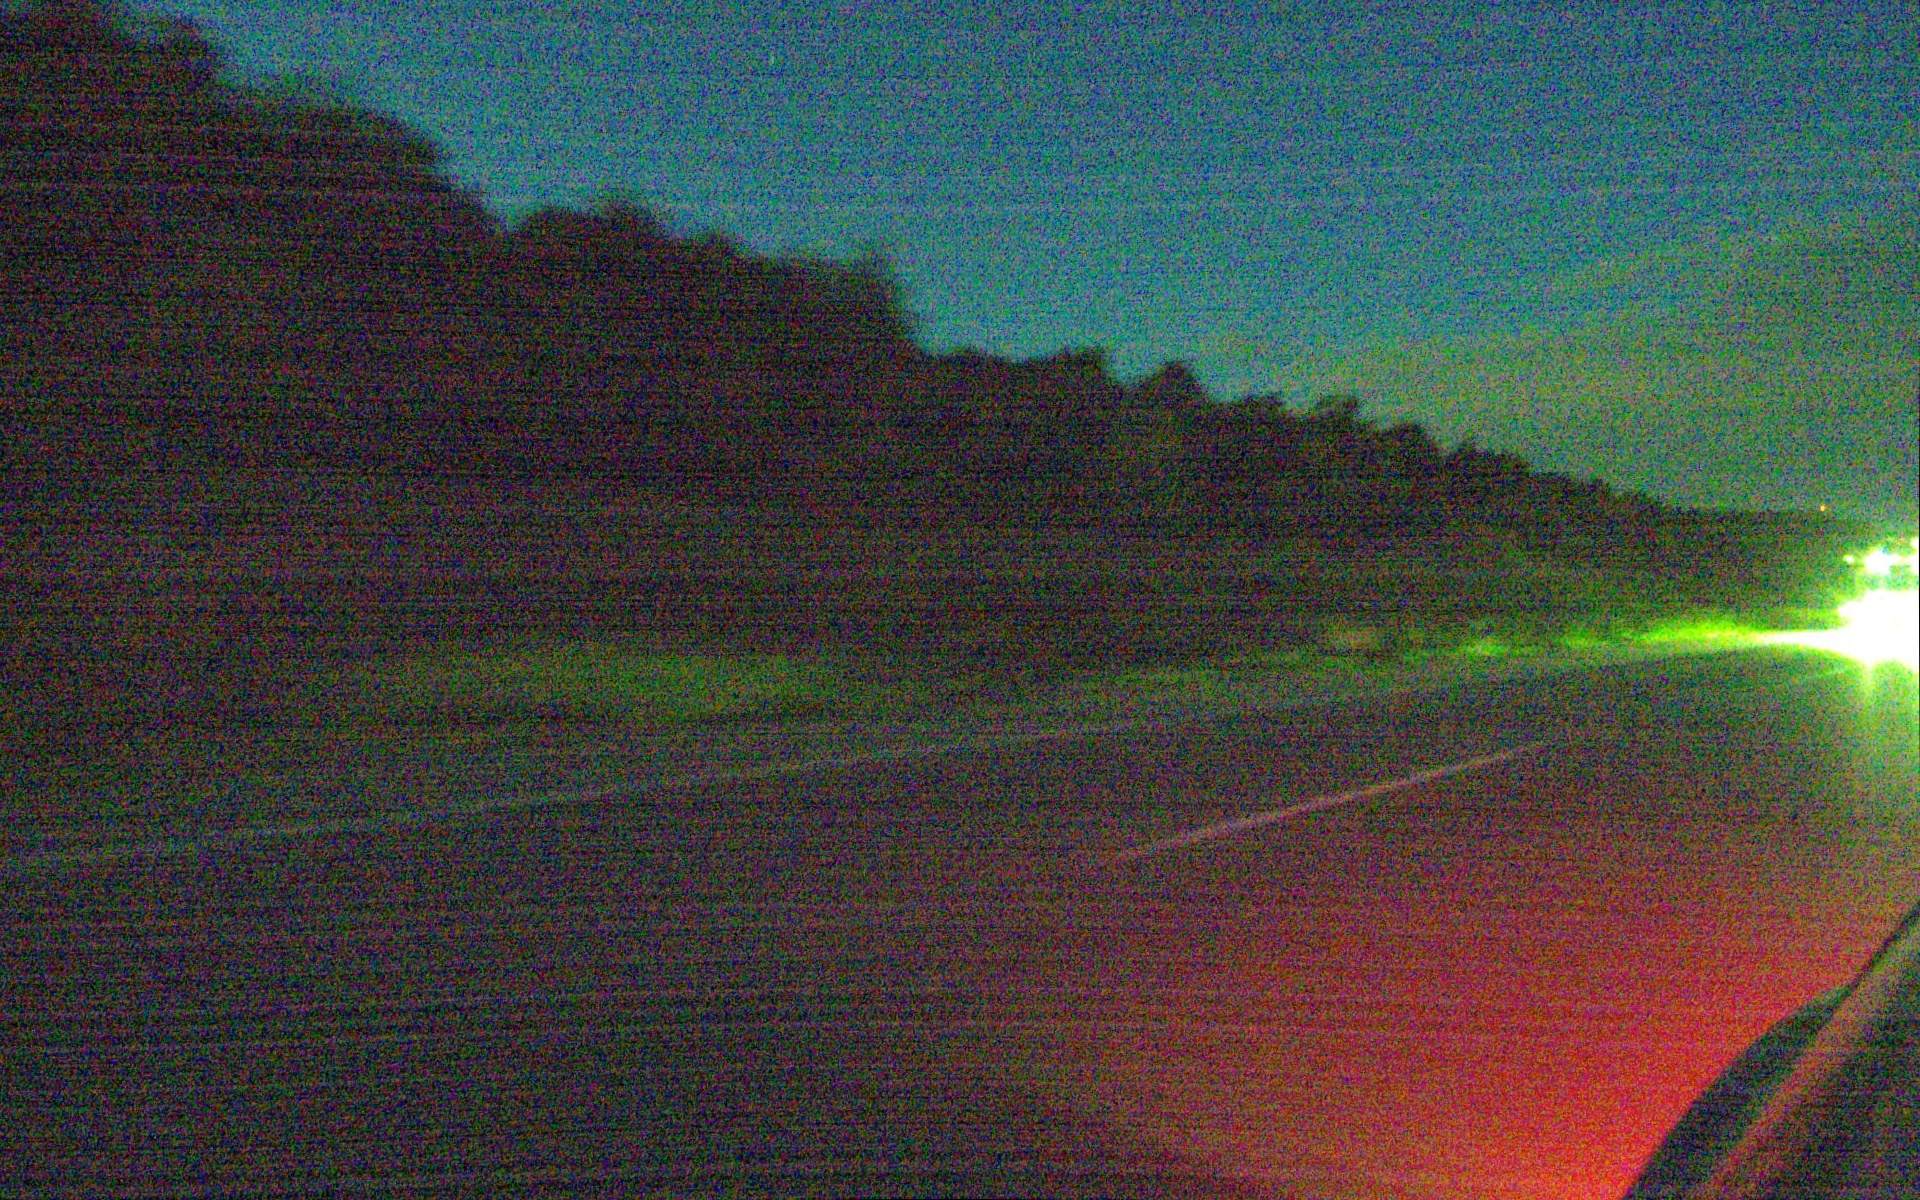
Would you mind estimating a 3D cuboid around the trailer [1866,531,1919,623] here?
[{"bbox_3d":[51.427,-1.175,53.879,13.344,4.489,3.342,-1,0,-42],"label":"trailer"}]

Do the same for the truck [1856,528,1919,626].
[{"bbox_3d":[46.345,-1.105,49.280,6.874,4.489,3.342,-1,0,-42],"label":"truck"}]
